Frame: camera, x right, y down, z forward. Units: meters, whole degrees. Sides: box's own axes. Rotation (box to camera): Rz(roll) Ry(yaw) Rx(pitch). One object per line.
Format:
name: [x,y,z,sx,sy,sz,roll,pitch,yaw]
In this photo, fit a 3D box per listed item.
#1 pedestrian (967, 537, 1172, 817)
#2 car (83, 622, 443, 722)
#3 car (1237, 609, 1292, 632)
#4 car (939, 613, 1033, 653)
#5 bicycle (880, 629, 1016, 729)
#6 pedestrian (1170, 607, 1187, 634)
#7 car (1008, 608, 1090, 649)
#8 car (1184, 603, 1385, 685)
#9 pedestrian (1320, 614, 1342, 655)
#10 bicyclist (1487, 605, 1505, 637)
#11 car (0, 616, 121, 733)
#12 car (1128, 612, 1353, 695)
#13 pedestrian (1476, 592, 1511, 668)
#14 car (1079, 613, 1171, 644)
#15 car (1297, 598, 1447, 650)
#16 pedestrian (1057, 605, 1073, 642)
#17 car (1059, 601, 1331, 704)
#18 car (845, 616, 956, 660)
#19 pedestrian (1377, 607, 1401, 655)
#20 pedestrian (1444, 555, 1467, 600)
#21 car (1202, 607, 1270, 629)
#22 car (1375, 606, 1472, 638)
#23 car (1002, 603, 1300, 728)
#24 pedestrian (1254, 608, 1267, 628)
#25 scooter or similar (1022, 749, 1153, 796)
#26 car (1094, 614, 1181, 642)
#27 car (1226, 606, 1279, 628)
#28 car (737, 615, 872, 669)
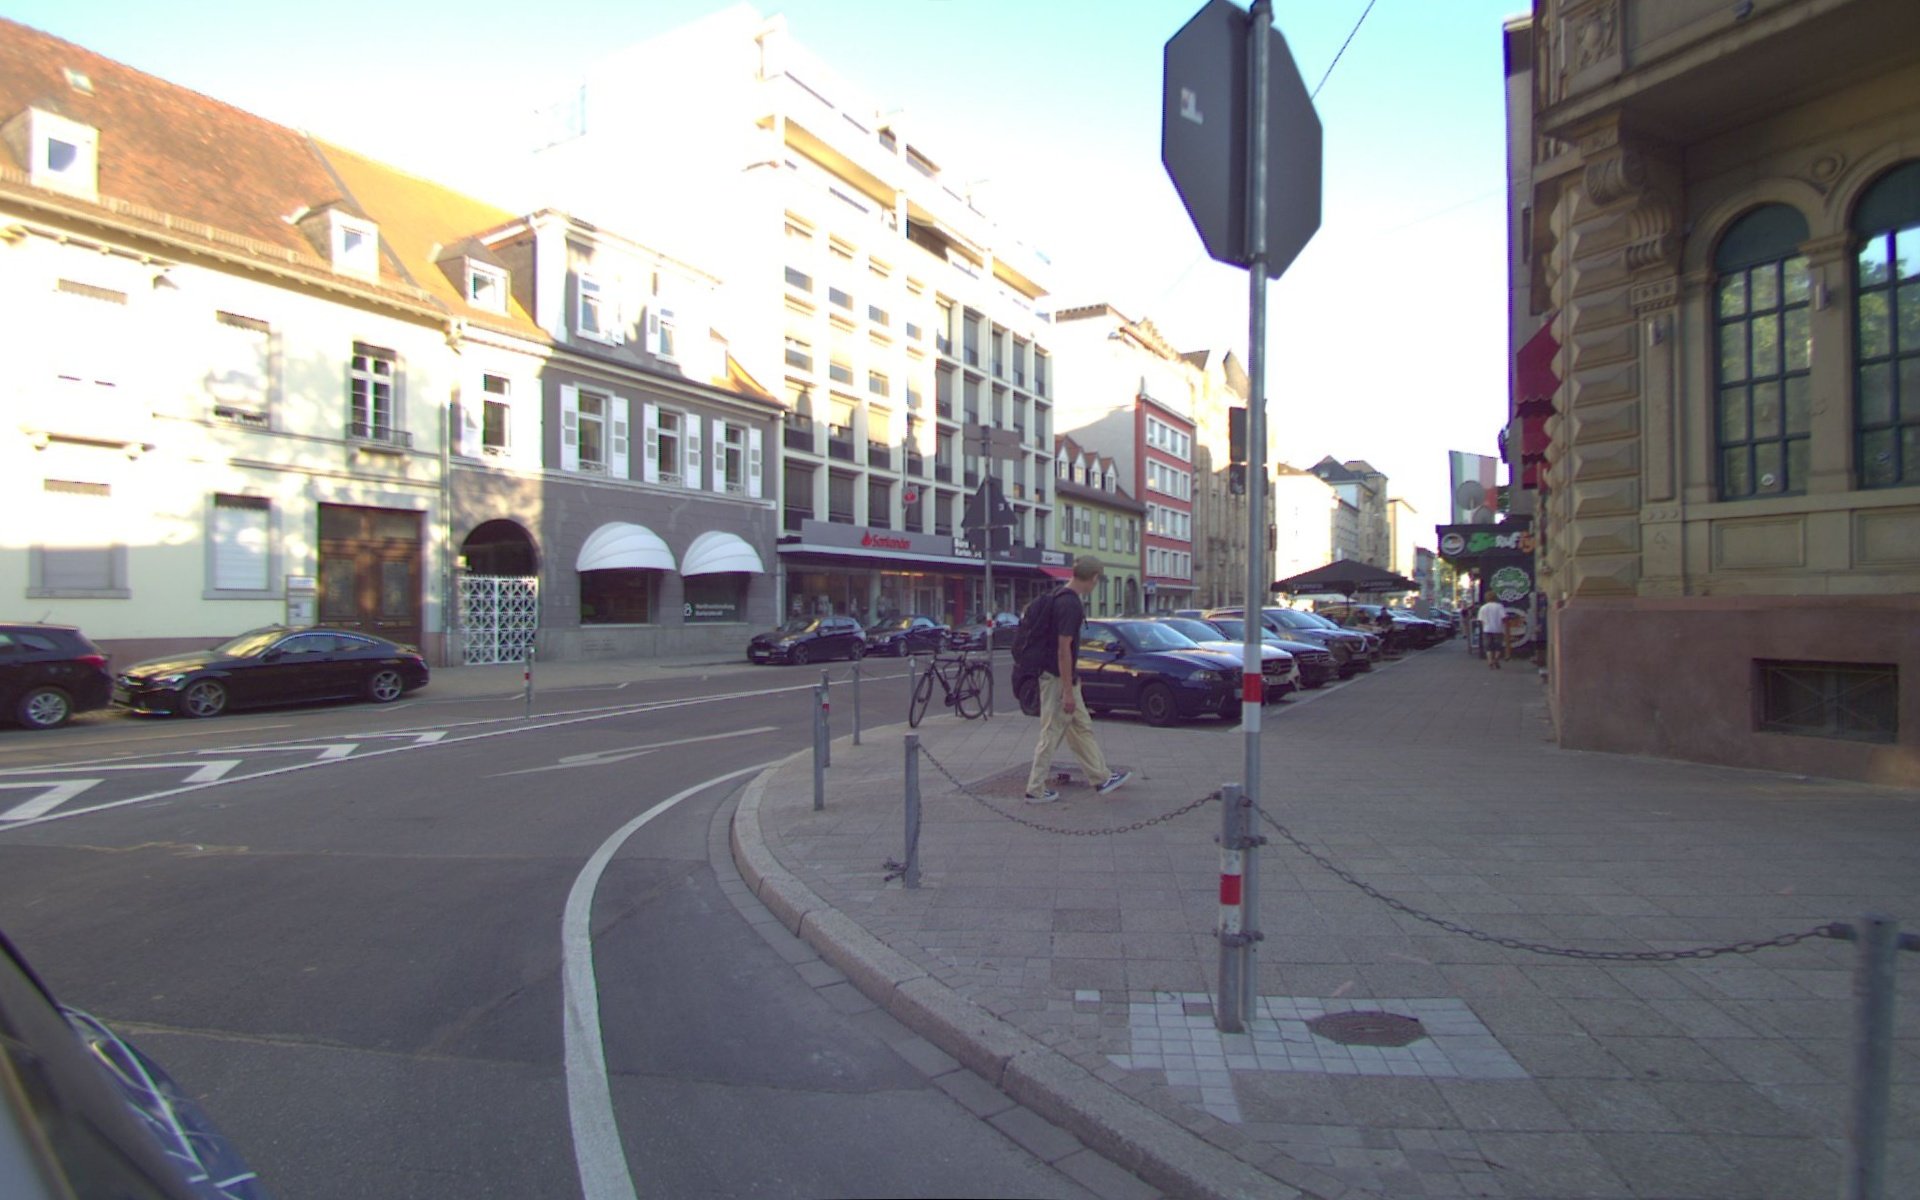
pedestrian: [0.708,0.496,6.927,1.249,1.752,0.850,-2,0,2]
car: [-11.647,1.119,17.333,1.772,1.405,4.806,-2,-1,31]
car: [23.702,1.569,78.845,3.789,1.766,1.751,0,-1,6]
car: [1.091,1.263,39.573,1.741,1.457,4.511,-1,-1,31]
bicycle: [-0.121,0.964,12.808,0.727,1.134,1.780,-4,-3,38]
pedestrian: [15.605,1.450,72.153,0.848,1.959,1.001,-1,-1,35]
car: [3.890,1.209,43.785,1.827,1.671,4.316,0,-1,31]
car: [7.143,0.918,22.640,1.763,1.669,4.061,1,-1,-35]
pedestrian: [13.001,1.208,35.486,0.576,1.427,0.534,-1,-2,41]
bicyclist: [27.219,1.058,51.378,0.764,1.571,0.805,-2,-6,29]
car: [-14.011,1.007,13.198,1.800,1.553,4.386,-2,-2,30]
car: [5.482,0.985,20.268,1.682,1.458,4.262,1,-1,-35]
pedestrian: [11.441,0.645,21.706,0.576,1.621,0.516,-3,-2,31]
car: [8.165,1.402,50.292,4.160,1.450,1.758,0,-1,-9]
car: [14.894,0.863,36.830,1.876,1.746,4.855,1,-1,-33]
pedestrian: [5.379,1.208,51.778,0.610,1.901,0.712,-1,-1,28]
car: [3.837,0.869,17.416,1.739,1.523,4.641,0,-2,-32]
car: [-1.940,1.252,34.612,1.740,1.398,4.457,-1,-1,28]
pedestrian: [13.053,0.935,30.790,0.574,1.427,0.669,-1,-1,29]
pedestrian: [14.903,-0.663,30.436,0.572,1.318,0.570,-1,-1,30]
car: [19.178,1.234,70.460,4.169,1.485,1.754,0,-1,0]
car: [26.936,1.291,58.893,4.835,1.787,1.884,-1,-1,38]
car: [2.482,0.897,14.008,1.712,1.472,3.872,0,-4,-36]
pedestrian: [26.551,1.587,89.467,0.848,1.813,1.001,-1,-1,35]
scooter or similar: [0.935,1.268,7.500,0.881,0.208,0.413,-2,-1,41]
car: [9.224,1.452,52.782,4.165,1.450,1.756,0,-1,-4]
car: [25.576,1.529,88.689,4.175,1.896,1.751,0,-1,5]
car: [-4.519,1.178,29.958,1.741,1.458,4.207,-1,-1,29]
